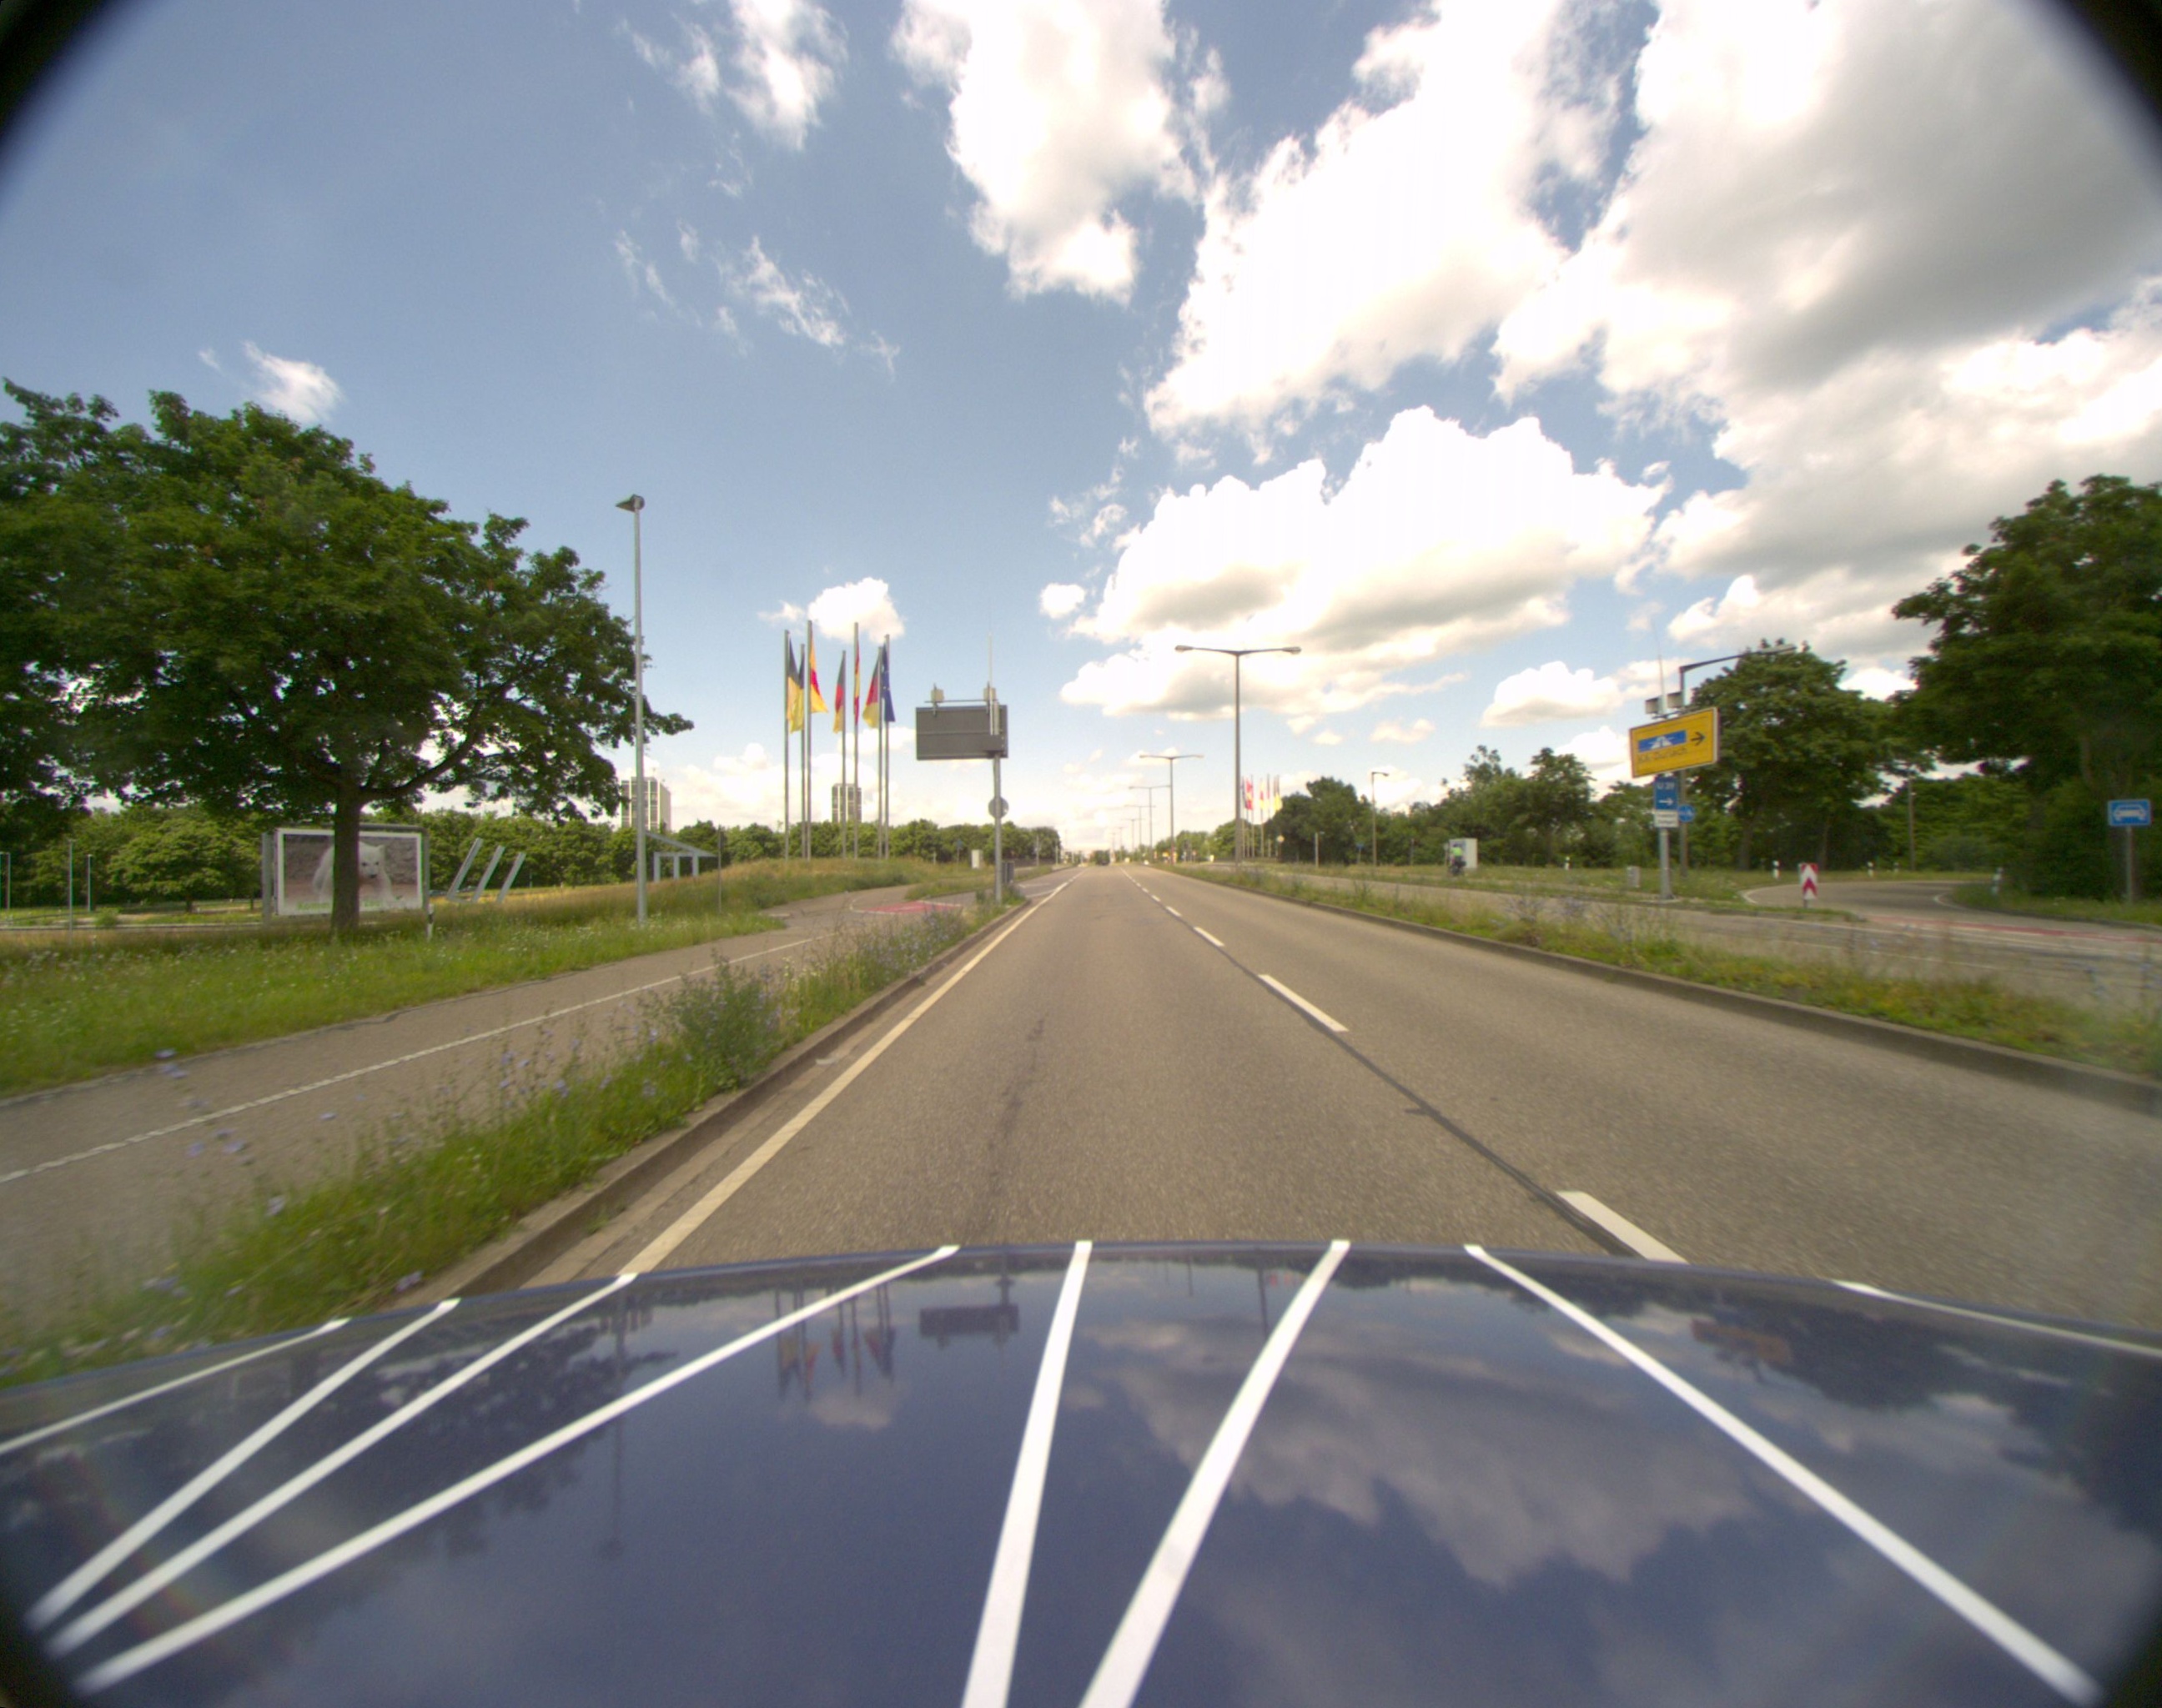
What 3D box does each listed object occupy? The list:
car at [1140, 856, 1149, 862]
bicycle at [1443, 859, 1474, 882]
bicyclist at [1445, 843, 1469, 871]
[{"bbox_3d":[19.194,1.633,229.096,2.094,1.616,4.549,6,-1,-2],"label":"car"},{"bbox_3d":[18.042,0.783,36.326,0.433,1.062,1.908,-2,-1,-2],"label":"bicycle"},{"bbox_3d":[17.984,0.151,36.315,0.522,1.265,1.107,-2,-1,-2],"label":"bicyclist"}]
